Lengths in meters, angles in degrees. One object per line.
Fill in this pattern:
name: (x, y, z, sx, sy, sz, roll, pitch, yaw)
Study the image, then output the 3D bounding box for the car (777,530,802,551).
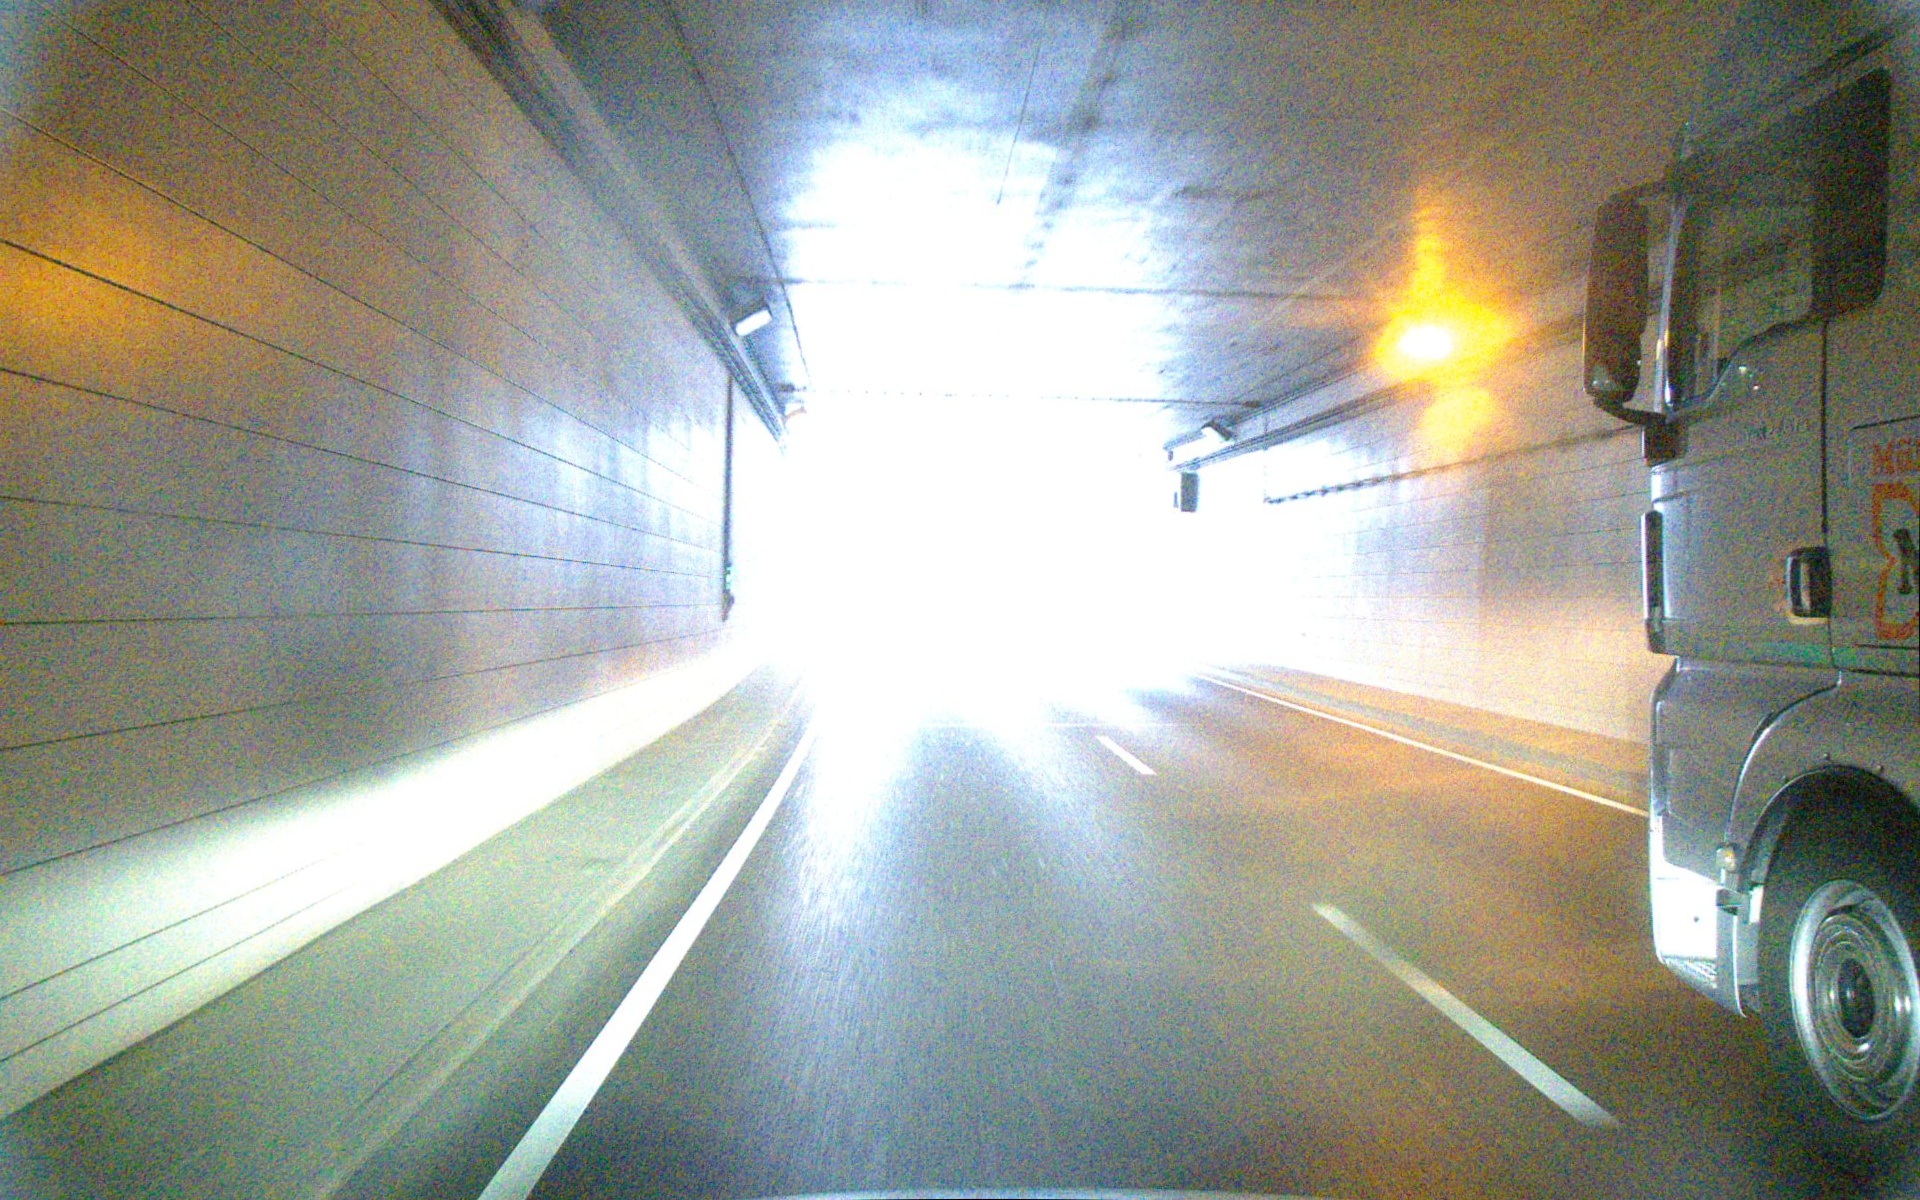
car: (-15.863, -5.525, 154.067, 1.837, 1.763, 3.987, 1, 0, -13)

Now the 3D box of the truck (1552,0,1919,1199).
truck: (3.651, -0.496, 0.762, 2.831, 3.982, 9.905, 1, 0, -2)
